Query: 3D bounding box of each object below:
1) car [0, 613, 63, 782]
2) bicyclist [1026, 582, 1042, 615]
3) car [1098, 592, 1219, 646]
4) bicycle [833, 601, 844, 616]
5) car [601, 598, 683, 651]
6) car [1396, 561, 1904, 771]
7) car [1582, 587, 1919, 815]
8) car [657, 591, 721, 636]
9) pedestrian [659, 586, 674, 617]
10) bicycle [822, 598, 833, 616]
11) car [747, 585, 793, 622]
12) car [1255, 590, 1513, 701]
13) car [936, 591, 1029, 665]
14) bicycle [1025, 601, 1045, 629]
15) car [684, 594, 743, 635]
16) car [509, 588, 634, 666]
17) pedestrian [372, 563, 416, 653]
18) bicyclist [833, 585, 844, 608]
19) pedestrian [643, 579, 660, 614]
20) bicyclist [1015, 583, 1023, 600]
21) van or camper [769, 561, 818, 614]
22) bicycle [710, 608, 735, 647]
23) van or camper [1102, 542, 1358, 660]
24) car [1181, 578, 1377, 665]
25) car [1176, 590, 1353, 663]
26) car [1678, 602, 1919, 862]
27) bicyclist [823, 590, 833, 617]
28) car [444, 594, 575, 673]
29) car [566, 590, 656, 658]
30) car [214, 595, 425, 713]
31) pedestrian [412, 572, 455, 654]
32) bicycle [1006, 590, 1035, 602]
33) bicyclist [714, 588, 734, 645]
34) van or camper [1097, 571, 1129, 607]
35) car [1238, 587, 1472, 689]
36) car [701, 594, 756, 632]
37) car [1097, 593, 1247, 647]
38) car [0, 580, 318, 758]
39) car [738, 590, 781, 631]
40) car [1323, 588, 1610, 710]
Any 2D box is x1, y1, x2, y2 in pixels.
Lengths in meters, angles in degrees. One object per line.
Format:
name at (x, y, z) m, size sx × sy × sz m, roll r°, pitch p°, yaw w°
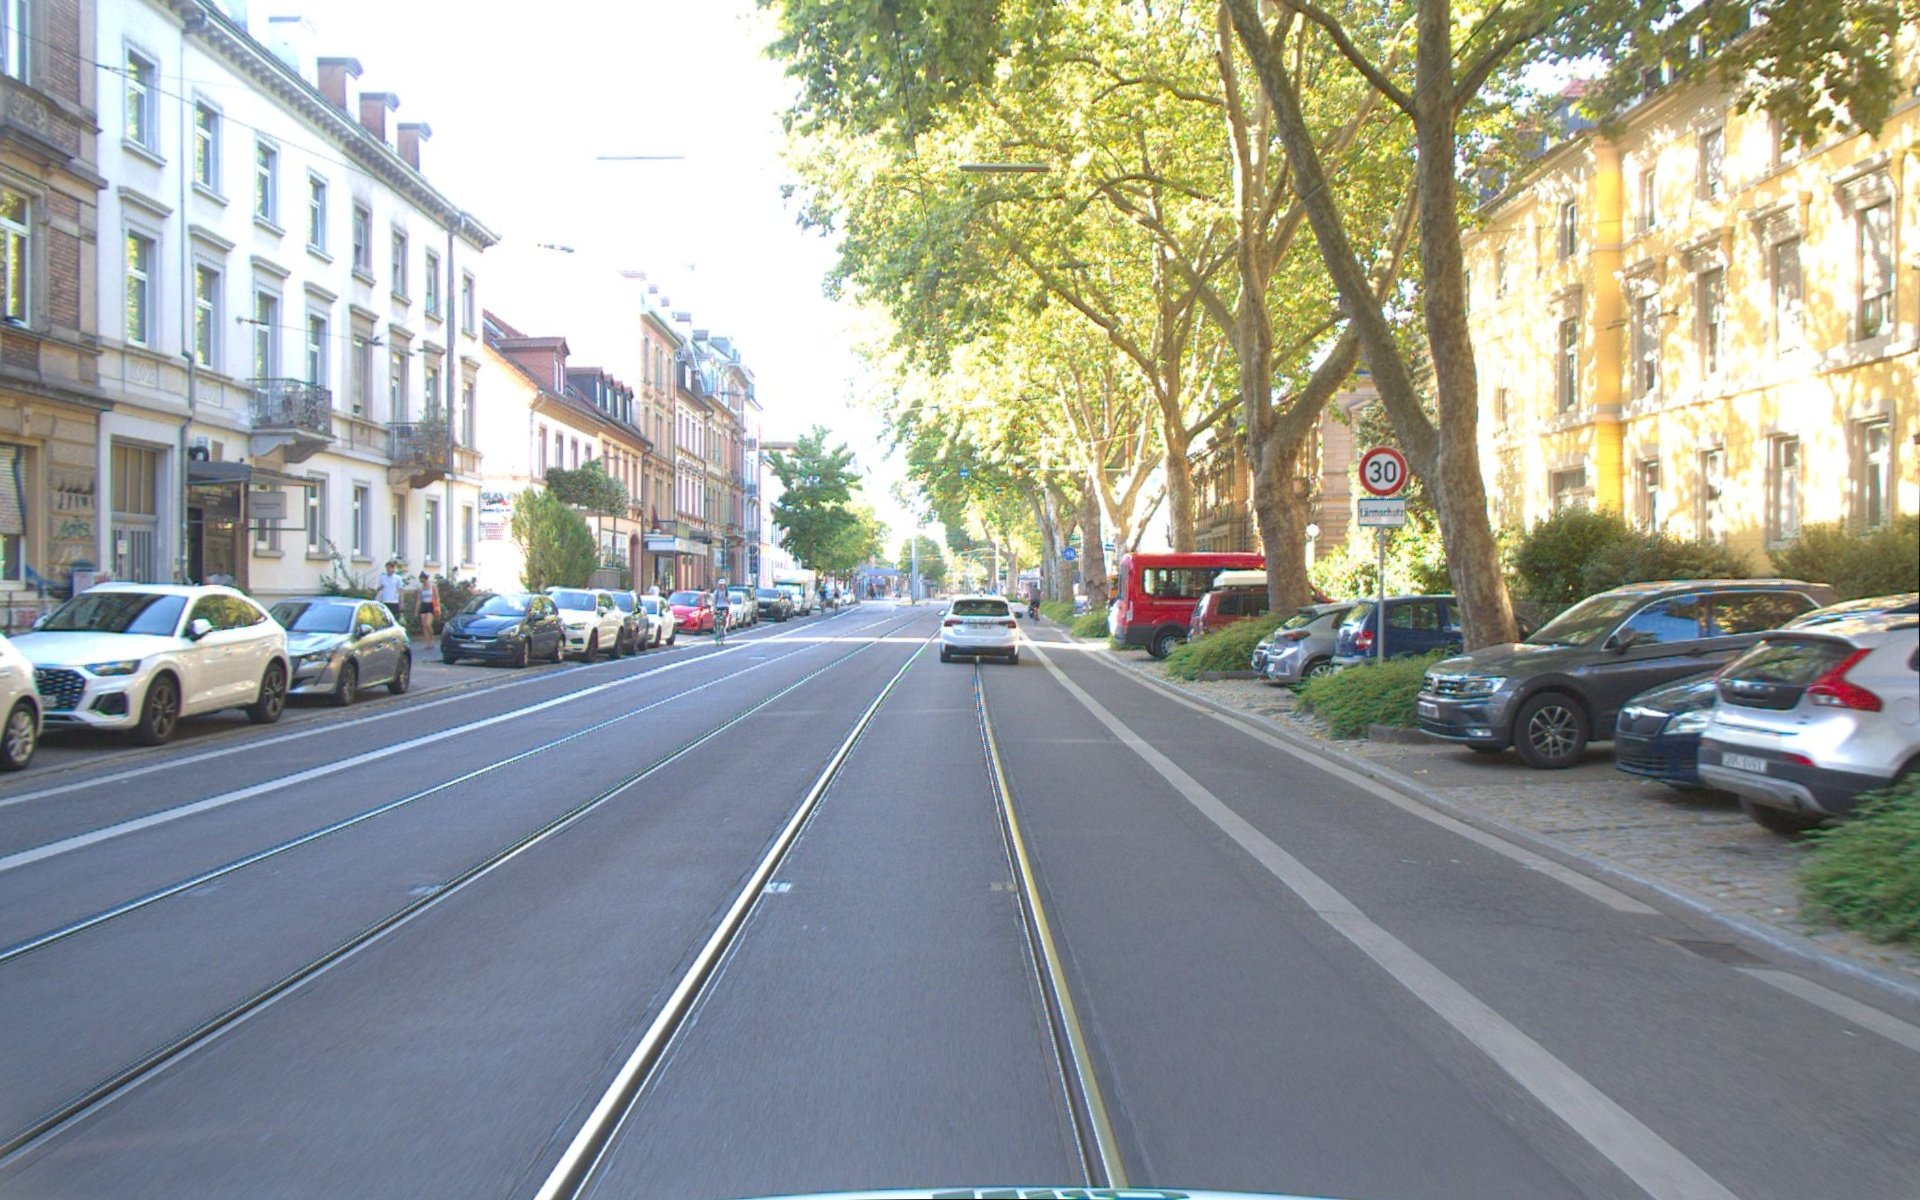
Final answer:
car at (-9.067, 0.839, 13.369) m, size 1.666 × 1.445 × 3.996 m, roll 1°, pitch 0°, yaw -5°
bicyclist at (3.163, -0.063, 70.642) m, size 0.665 × 1.362 × 0.525 m, roll 1°, pitch 0°, yaw -1°
car at (6.431, 0.615, 53.899) m, size 3.675 × 1.534 × 1.681 m, roll 3°, pitch 0°, yaw 0°
bicycle at (-8.092, 0.535, 110.227) m, size 0.488 × 0.959 × 1.922 m, roll -2°, pitch 0°, yaw 1°
car at (-9.567, 0.705, 50.064) m, size 1.652 × 1.502 × 4.257 m, roll 1°, pitch 0°, yaw 0°
car at (6.666, 0.601, 16.270) m, size 4.177 × 1.749 × 1.848 m, roll -3°, pitch 0°, yaw -3°
car at (7.326, 0.744, 13.385) m, size 3.947 × 1.672 × 1.680 m, roll -1°, pitch 0°, yaw -3°
car at (-9.796, 0.471, 60.017) m, size 1.536 × 1.590 × 3.450 m, roll 0°, pitch 0°, yaw 3°
pedestrian at (-14.274, 0.088, 80.486) m, size 0.625 × 1.486 × 0.654 m, roll 1°, pitch 0°, yaw -16°
bicycle at (-8.392, 0.432, 104.589) m, size 0.474 × 1.065 × 2.040 m, roll -2°, pitch 0°, yaw 1°
car at (-9.984, 0.170, 87.308) m, size 1.925 × 1.812 × 4.936 m, roll 3°, pitch 0°, yaw -2°
car at (6.498, 0.676, 25.578) m, size 3.522 × 1.544 × 1.693 m, roll -2°, pitch 0°, yaw -1°
car at (0.440, 0.585, 36.150) m, size 1.805 × 1.506 × 3.836 m, roll 1°, pitch 0°, yaw -2°
bicycle at (3.168, 0.632, 70.352) m, size 0.666 × 1.175 × 2.964 m, roll 1°, pitch 0°, yaw 0°
car at (-9.767, 0.549, 65.862) m, size 1.790 × 1.529 × 4.686 m, roll 1°, pitch 0°, yaw -2°
car at (-9.130, 0.597, 39.257) m, size 1.818 × 1.733 × 4.763 m, roll 0°, pitch 0°, yaw 0°
pedestrian at (-12.946, 0.180, 37.872) m, size 0.744 × 2.049 × 0.829 m, roll 0°, pitch 0°, yaw -3°
bicyclist at (-8.102, -0.209, 110.014) m, size 0.625 × 1.529 × 1.070 m, roll -1°, pitch 0°, yaw 1°
pedestrian at (-14.977, -0.163, 80.275) m, size 0.759 × 1.662 × 0.654 m, roll 1°, pitch 0°, yaw -16°
bicyclist at (5.676, -0.808, 158.583) m, size 0.721 × 1.617 × 0.587 m, roll 0°, pitch 0°, yaw 12°
van or camper at (-10.535, -0.773, 105.329) m, size 2.171 × 3.195 × 7.114 m, roll 1°, pitch 0°, yaw 1°
bicycle at (-6.993, 0.793, 48.772) m, size 0.471 × 1.105 × 1.846 m, roll 0°, pitch 0°, yaw 1°
van or camper at (6.425, -0.001, 39.823) m, size 5.699 × 2.563 × 2.287 m, roll -2°, pitch 1°, yaw -3°
car at (6.730, 0.454, 35.140) m, size 3.742 × 1.678 × 1.766 m, roll -2°, pitch -1°, yaw -3°
car at (6.925, 0.578, 37.821) m, size 3.660 × 1.556 × 1.668 m, roll -1°, pitch 0°, yaw -3°
car at (6.988, 0.765, 10.714) m, size 3.946 × 1.506 × 1.681 m, roll -1°, pitch 0°, yaw -2°
bicyclist at (-8.374, 0.210, 104.806) m, size 0.524 × 1.663 × 0.897 m, roll -2°, pitch 0°, yaw 1°
car at (-9.274, 0.648, 34.335) m, size 1.521 × 1.542 × 3.925 m, roll 0°, pitch 0°, yaw 2°
car at (-9.342, 0.596, 44.554) m, size 1.821 × 1.733 × 4.654 m, roll 0°, pitch 0°, yaw -5°
car at (-9.237, 0.722, 24.183) m, size 1.629 × 1.547 × 4.062 m, roll 1°, pitch 0°, yaw -3°
pedestrian at (-12.036, 0.299, 37.806) m, size 0.744 × 1.853 × 0.829 m, roll 0°, pitch 0°, yaw -3°
bicycle at (5.764, -0.389, 158.542) m, size 2.711 × 1.017 × 0.593 m, roll 1°, pitch 0°, yaw 14°
bicyclist at (-6.977, 0.482, 48.862) m, size 0.463 × 1.664 × 0.800 m, roll 0°, pitch 0°, yaw 0°
van or camper at (11.081, -0.780, 120.013) m, size 1.985 × 2.507 × 5.109 m, roll 1°, pitch 0°, yaw 2°
car at (6.776, 0.632, 28.628) m, size 3.596 × 1.550 × 1.693 m, roll -2°, pitch 0°, yaw -1°
car at (-9.856, 0.540, 70.676) m, size 1.790 × 1.529 × 4.449 m, roll 1°, pitch 0°, yaw -1°
car at (6.220, 0.570, 48.789) m, size 4.197 × 1.442 × 1.760 m, roll -2°, pitch 0°, yaw 1°
car at (-9.135, 0.686, 18.895) m, size 1.750 × 1.753 × 4.718 m, roll 1°, pitch 0°, yaw 0°
car at (-9.104, 0.456, 75.198) m, size 1.524 × 1.762 × 3.685 m, roll 1°, pitch 0°, yaw -1°
car at (6.984, 0.662, 23.030) m, size 3.521 × 1.627 × 1.541 m, roll 0°, pitch -1°, yaw 0°
